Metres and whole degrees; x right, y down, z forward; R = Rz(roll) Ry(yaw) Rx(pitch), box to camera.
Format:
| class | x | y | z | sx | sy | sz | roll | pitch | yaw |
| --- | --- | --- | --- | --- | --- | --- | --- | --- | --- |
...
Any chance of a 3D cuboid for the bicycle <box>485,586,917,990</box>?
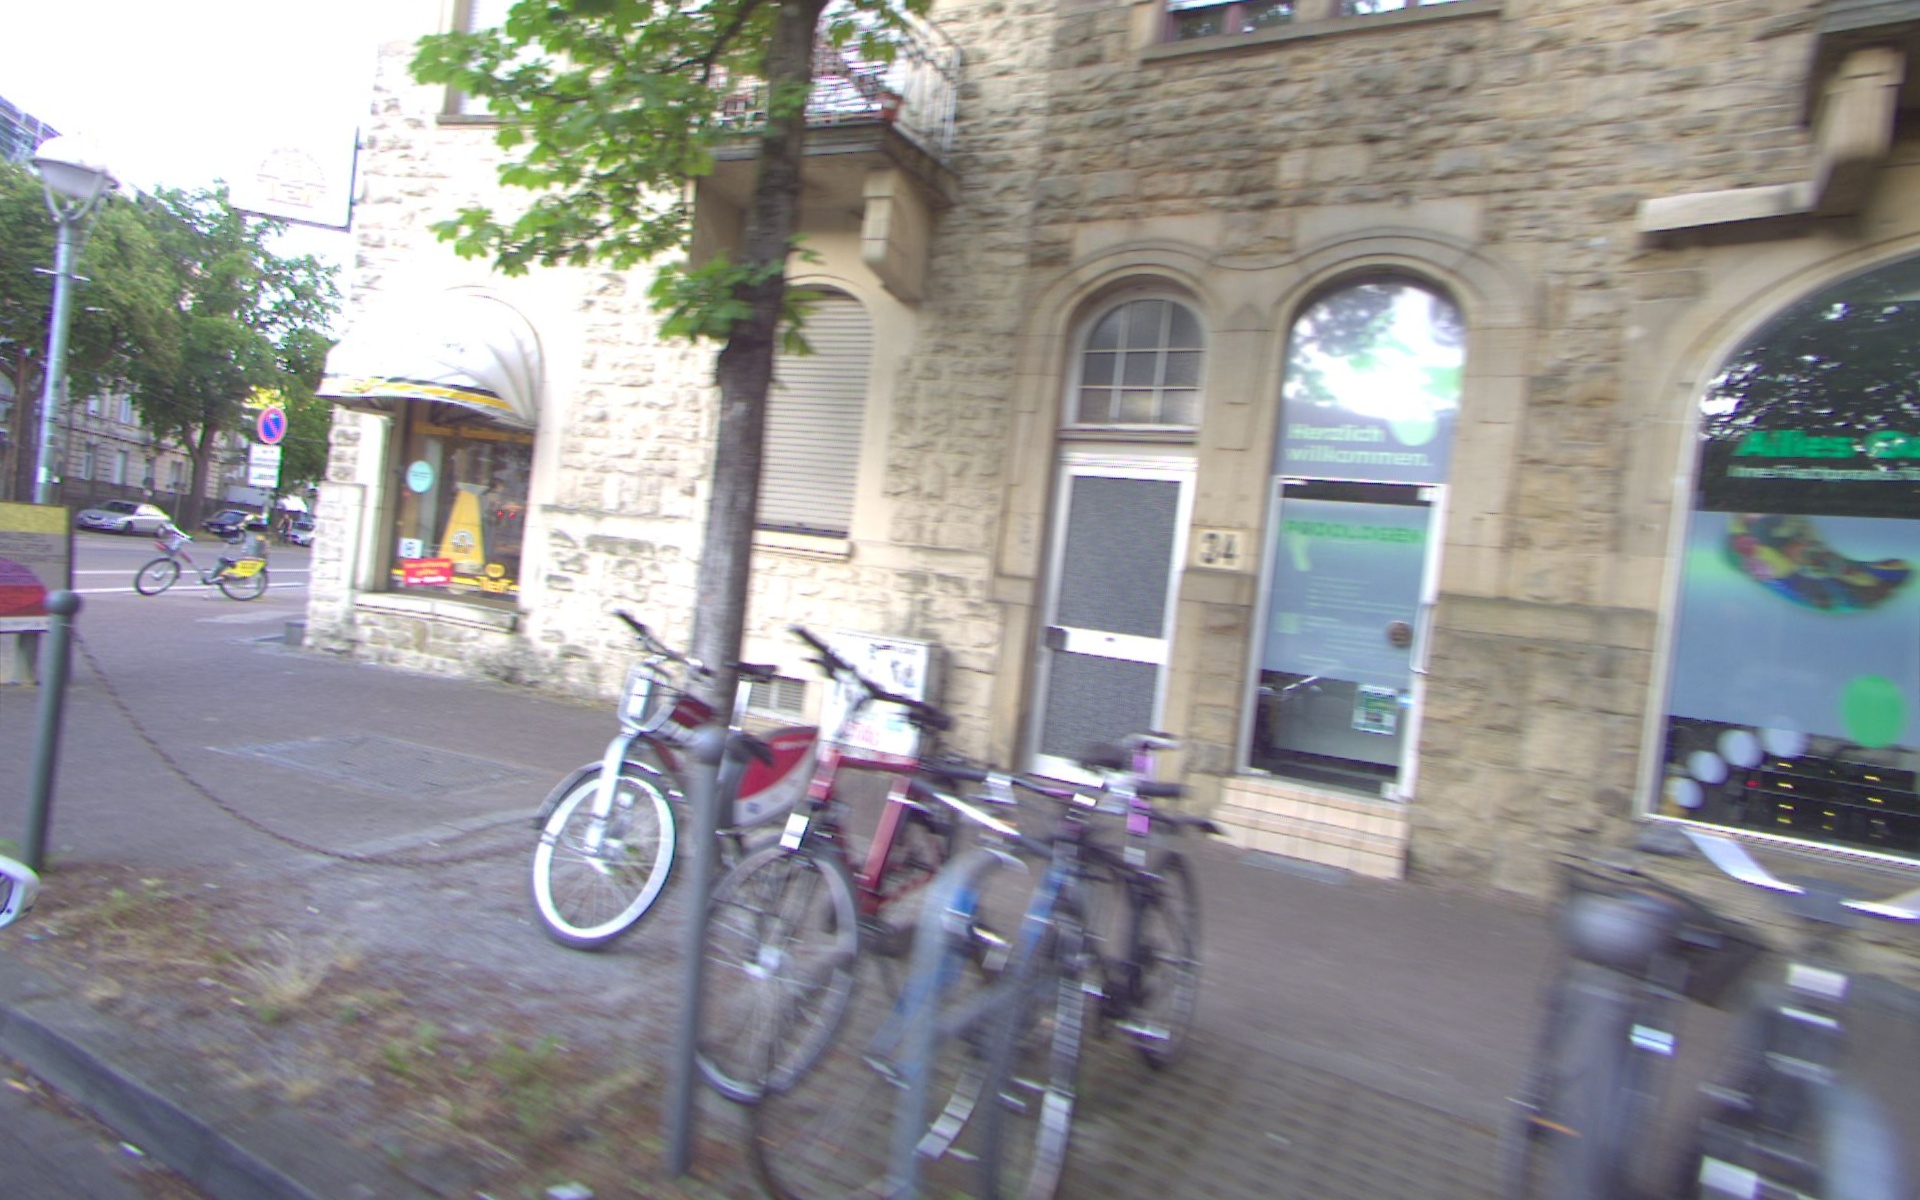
| class | x | y | z | sx | sy | sz | roll | pitch | yaw |
| --- | --- | --- | --- | --- | --- | --- | --- | --- | --- |
| bicycle | -0.938 | 0.656 | 4.194 | 0.639 | 1.252 | 1.791 | 7 | 0 | 25 |

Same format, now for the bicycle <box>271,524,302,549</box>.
| class | x | y | z | sx | sy | sz | roll | pitch | yaw |
| --- | --- | --- | --- | --- | --- | --- | --- | --- | --- |
| bicycle | -34.803 | -3.256 | 51.987 | 0.545 | 1.162 | 1.606 | 6 | 0 | -6 |

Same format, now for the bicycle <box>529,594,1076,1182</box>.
| class | x | y | z | sx | sy | sz | roll | pitch | yaw |
| --- | --- | --- | --- | --- | --- | --- | --- | --- | --- |
| bicycle | -0.329 | 0.695 | 3.197 | 0.687 | 1.252 | 1.791 | 7 | 0 | 26 |

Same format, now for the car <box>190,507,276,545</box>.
| class | x | y | z | sx | sy | sz | roll | pitch | yaw |
| --- | --- | --- | --- | --- | --- | --- | --- | --- | --- |
| car | -38.361 | -3.874 | 53.220 | 1.917 | 1.501 | 4.161 | 7 | 0 | -9 |

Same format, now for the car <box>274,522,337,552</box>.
| class | x | y | z | sx | sy | sz | roll | pitch | yaw |
| --- | --- | --- | --- | --- | --- | --- | --- | --- | --- |
| car | -40.373 | -3.851 | 62.133 | 1.920 | 1.500 | 4.306 | 7 | 0 | -16 |

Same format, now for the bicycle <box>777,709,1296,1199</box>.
| class | x | y | z | sx | sy | sz | roll | pitch | yaw |
| --- | --- | --- | --- | --- | --- | --- | --- | --- | --- |
| bicycle | 0.370 | 0.908 | 2.740 | 0.687 | 1.051 | 1.805 | 7 | 0 | 26 |

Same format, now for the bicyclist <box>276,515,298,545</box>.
| class | x | y | z | sx | sy | sz | roll | pitch | yaw |
| --- | --- | --- | --- | --- | --- | --- | --- | --- | --- |
| bicyclist | -34.767 | -3.624 | 51.981 | 0.545 | 1.446 | 0.735 | 6 | 1 | -6 |

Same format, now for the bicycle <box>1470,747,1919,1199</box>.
| class | x | y | z | sx | sy | sz | roll | pitch | yaw |
| --- | --- | --- | --- | --- | --- | --- | --- | --- | --- |
| bicycle | 1.393 | 0.983 | 1.888 | 0.629 | 1.177 | 1.889 | 7 | 0 | 26 |

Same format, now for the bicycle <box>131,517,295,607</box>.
| class | x | y | z | sx | sy | sz | roll | pitch | yaw |
| --- | --- | --- | --- | --- | --- | --- | --- | --- | --- |
| bicycle | -11.605 | -0.573 | 15.681 | 0.721 | 1.144 | 1.869 | 7 | 0 | 41 |

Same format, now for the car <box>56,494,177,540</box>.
| class | x | y | z | sx | sy | sz | roll | pitch | yaw |
| --- | --- | --- | --- | --- | --- | --- | --- | --- | --- |
| car | -36.077 | -3.488 | 43.204 | 1.978 | 1.444 | 4.619 | 7 | 0 | -13 |

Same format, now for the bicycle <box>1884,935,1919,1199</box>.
| class | x | y | z | sx | sy | sz | roll | pitch | yaw |
| --- | --- | --- | --- | --- | --- | --- | --- | --- | --- |
| bicycle | 2.056 | 1.061 | 1.570 | 0.631 | 1.177 | 1.885 | 7 | 0 | 37 |
